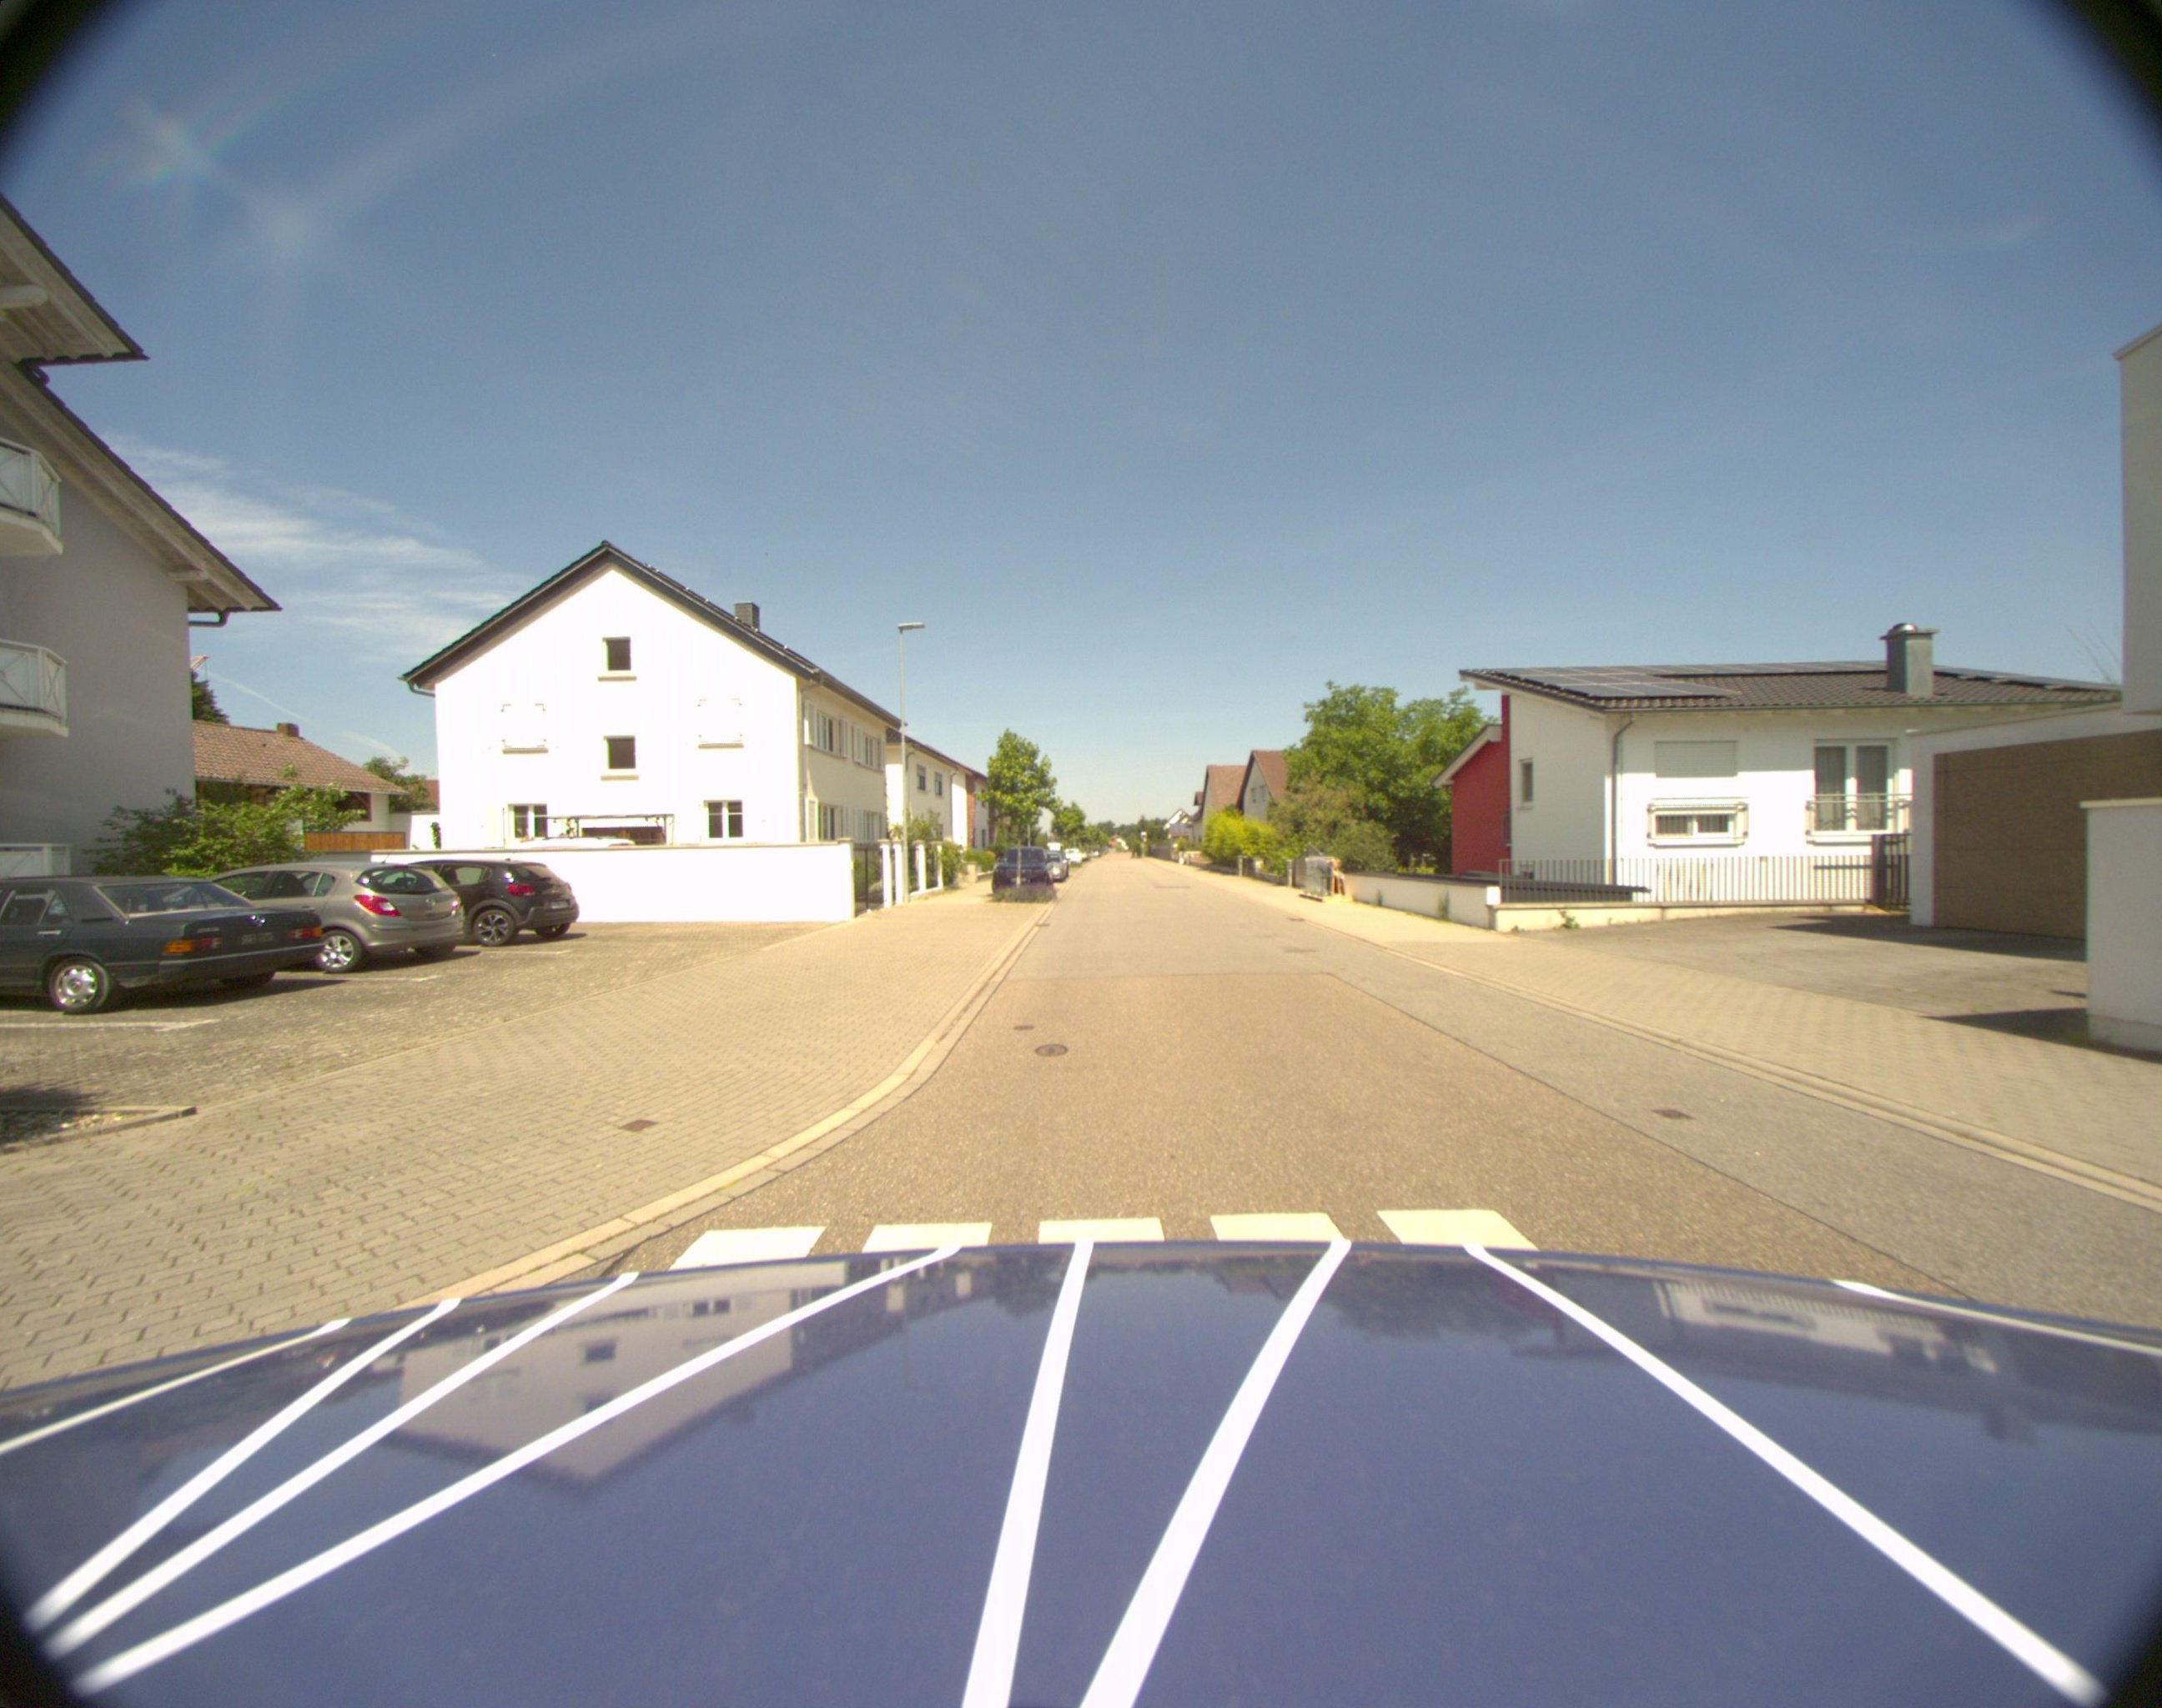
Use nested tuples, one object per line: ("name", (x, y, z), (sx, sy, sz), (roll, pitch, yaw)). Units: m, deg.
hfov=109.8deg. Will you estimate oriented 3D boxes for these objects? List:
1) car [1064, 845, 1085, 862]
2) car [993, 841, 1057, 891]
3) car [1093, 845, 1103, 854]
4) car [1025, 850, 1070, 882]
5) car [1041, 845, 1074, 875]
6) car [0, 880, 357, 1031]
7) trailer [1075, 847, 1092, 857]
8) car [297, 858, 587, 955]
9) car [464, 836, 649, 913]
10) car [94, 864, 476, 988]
("car", (-0.580, -0.068, 69.375), (1.819, 1.412, 3.867), (-1, 1, 1))
("car", (-1.936, 0.393, 27.597), (1.818, 1.647, 4.564), (-1, 0, 2))
("car", (3.083, -0.851, 138.658), (1.597, 1.630, 3.804), (-1, 1, 5))
("car", (-1.574, 0.543, 36.930), (1.818, 1.412, 4.093), (-1, 1, 2))
("car", (-1.266, 0.292, 42.488), (1.746, 1.524, 4.447), (-1, 1, -1))
("car", (-10.803, 1.034, 8.219), (4.212, 1.366, 1.664), (-1, 1, -2))
("trailer", (0.310, -0.188, 84.609), (1.792, 1.052, 2.899), (-1, 1, 3))
("car", (-10.939, 0.853, 13.228), (3.510, 1.488, 1.663), (-1, 1, -5))
("car", (-13.180, 0.485, 19.254), (3.394, 1.802, 1.771), (-1, 1, 0))
("car", (-10.896, 0.936, 10.622), (3.454, 1.486, 1.664), (-1, 1, -2))
